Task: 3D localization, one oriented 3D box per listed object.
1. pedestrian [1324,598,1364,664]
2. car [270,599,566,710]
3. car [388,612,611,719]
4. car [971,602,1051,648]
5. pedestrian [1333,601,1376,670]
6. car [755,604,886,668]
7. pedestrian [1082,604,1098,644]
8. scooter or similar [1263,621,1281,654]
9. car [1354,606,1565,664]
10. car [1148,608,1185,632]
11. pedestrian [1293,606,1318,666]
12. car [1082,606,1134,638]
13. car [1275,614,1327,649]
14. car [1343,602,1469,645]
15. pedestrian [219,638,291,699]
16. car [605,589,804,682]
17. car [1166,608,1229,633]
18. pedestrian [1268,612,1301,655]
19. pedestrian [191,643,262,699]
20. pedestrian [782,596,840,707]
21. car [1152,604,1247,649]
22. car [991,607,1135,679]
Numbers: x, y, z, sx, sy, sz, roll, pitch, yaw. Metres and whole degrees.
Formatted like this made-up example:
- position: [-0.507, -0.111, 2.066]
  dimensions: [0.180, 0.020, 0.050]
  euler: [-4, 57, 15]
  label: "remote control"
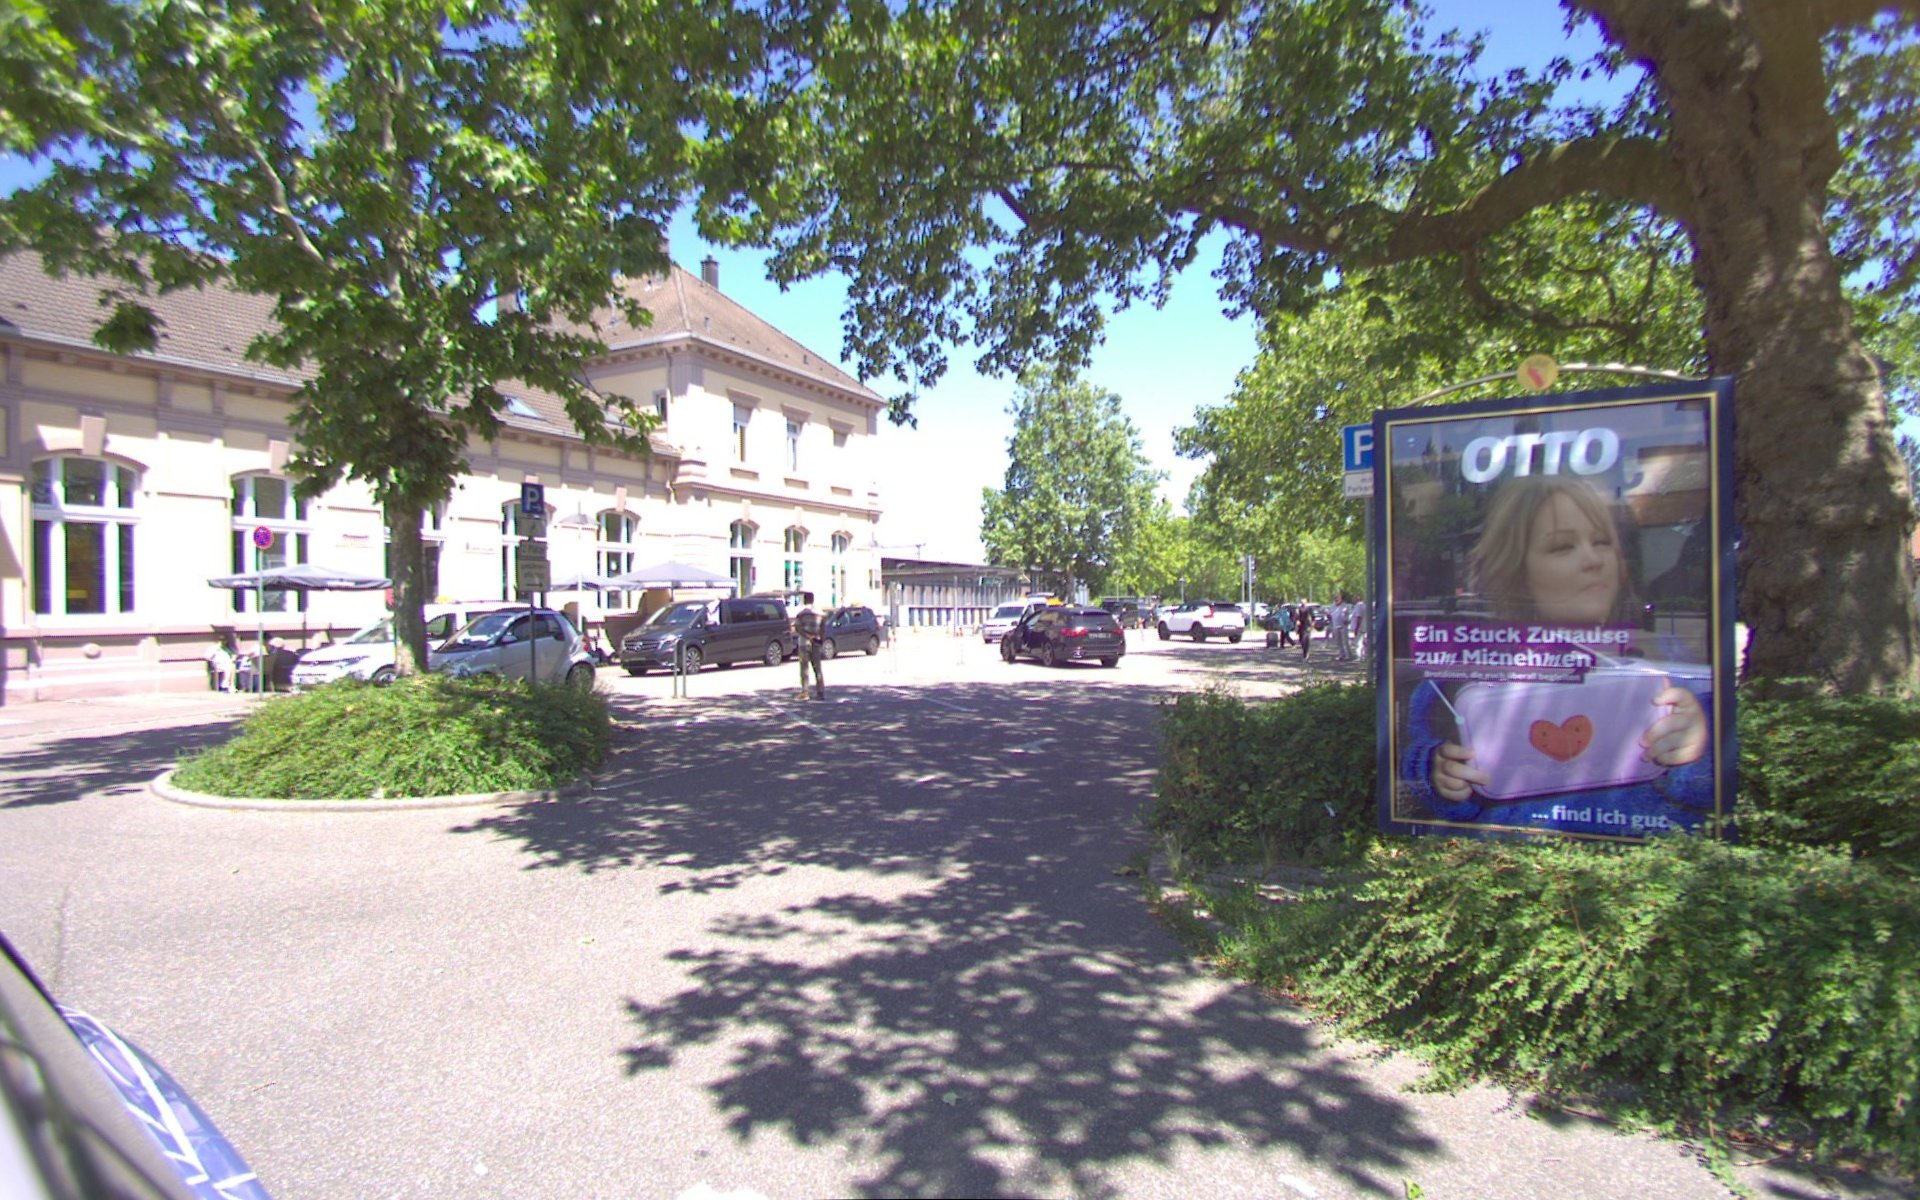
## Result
- position: [10.549, 0.853, 27.822]
  dimensions: [0.829, 1.784, 0.850]
  euler: [-1, -1, 8]
  label: "pedestrian"
- position: [-10.300, 1.009, 19.765]
  dimensions: [1.804, 1.880, 5.097]
  euler: [-2, -2, 24]
  label: "car"
- position: [-7.635, 1.019, 17.013]
  dimensions: [1.595, 1.605, 3.075]
  euler: [-2, -1, 30]
  label: "car"
- position: [2.368, 1.106, 45.567]
  dimensions: [1.990, 1.854, 5.280]
  euler: [-3, -2, 21]
  label: "car"
- position: [10.431, 0.944, 26.790]
  dimensions: [0.828, 1.784, 0.850]
  euler: [-1, -1, 6]
  label: "pedestrian"
- position: [-4.319, 1.142, 32.262]
  dimensions: [2.066, 1.854, 4.806]
  euler: [-2, -2, 21]
  label: "car"
- position: [6.655, 1.207, 51.867]
  dimensions: [0.624, 2.005, 0.613]
  euler: [-3, -2, 21]
  label: "pedestrian"
- position: [10.710, 1.281, 34.721]
  dimensions: [0.430, 1.110, 0.404]
  euler: [0, -2, -34]
  label: "scooter or similar"
- position: [13.343, 0.933, 27.311]
  dimensions: [4.722, 1.427, 1.782]
  euler: [-1, -1, 8]
  label: "car"
- position: [17.907, 1.704, 87.569]
  dimensions: [1.990, 1.803, 4.208]
  euler: [-4, -1, 27]
  label: "car"
- position: [9.111, 0.929, 26.711]
  dimensions: [0.586, 1.560, 0.606]
  euler: [-1, -1, 23]
  label: "pedestrian"
- position: [9.509, 1.396, 64.845]
  dimensions: [1.990, 1.803, 4.208]
  euler: [-4, -1, 27]
  label: "car"
- position: [19.361, 1.777, 57.563]
  dimensions: [1.716, 1.908, 3.996]
  euler: [-1, -1, 3]
  label: "car"
- position: [16.178, 0.853, 36.805]
  dimensions: [3.821, 1.471, 1.637]
  euler: [-1, -1, -1]
  label: "car"
- position: [-14.276, 1.376, 20.499]
  dimensions: [0.876, 1.170, 0.845]
  euler: [0, -1, 23]
  label: "pedestrian"
- position: [-6.462, 0.917, 26.468]
  dimensions: [2.079, 2.140, 5.784]
  euler: [-2, -2, 21]
  label: "car"
- position: [13.669, 1.201, 58.316]
  dimensions: [1.772, 1.414, 3.524]
  euler: [0, -2, -23]
  label: "car"
- position: [10.979, 1.117, 34.207]
  dimensions: [0.788, 1.435, 0.693]
  euler: [0, -2, -34]
  label: "pedestrian"
- position: [-15.131, 1.450, 20.878]
  dimensions: [0.876, 1.088, 0.845]
  euler: [0, -1, 23]
  label: "pedestrian"
- position: [-2.421, 0.815, 16.363]
  dimensions: [0.760, 1.730, 0.817]
  euler: [0, -1, -20]
  label: "pedestrian"
- position: [9.510, 1.022, 40.464]
  dimensions: [1.770, 1.617, 4.076]
  euler: [-2, 1, -19]
  label: "car"
- position: [2.472, 1.004, 25.582]
  dimensions: [1.770, 1.554, 4.544]
  euler: [-2, 1, -20]
  label: "car"
